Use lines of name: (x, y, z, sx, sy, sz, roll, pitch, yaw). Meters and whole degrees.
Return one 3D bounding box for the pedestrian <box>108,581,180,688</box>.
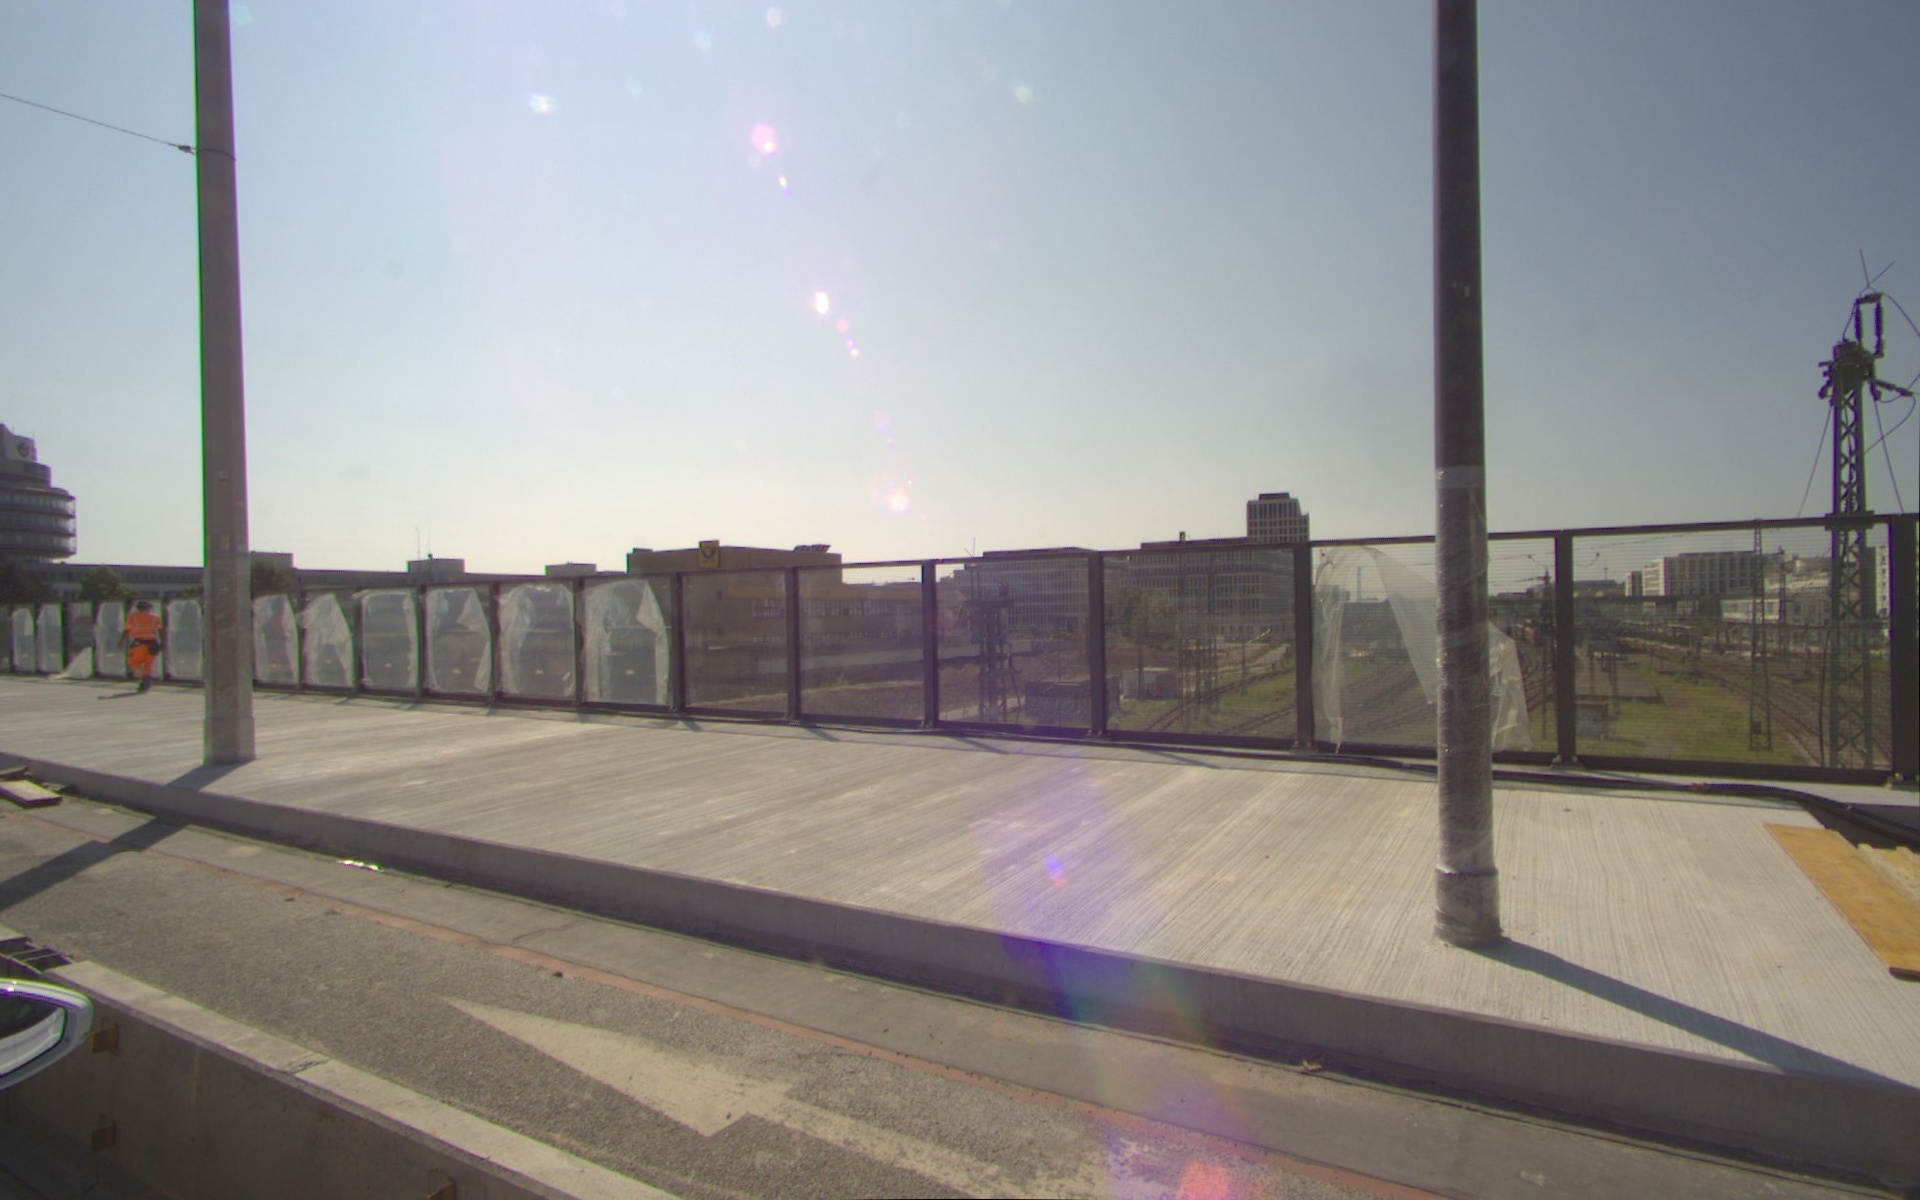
pedestrian: (-15.623, 0.645, 19.167, 1.002, 1.991, 0.729, -1, 1, 33)
